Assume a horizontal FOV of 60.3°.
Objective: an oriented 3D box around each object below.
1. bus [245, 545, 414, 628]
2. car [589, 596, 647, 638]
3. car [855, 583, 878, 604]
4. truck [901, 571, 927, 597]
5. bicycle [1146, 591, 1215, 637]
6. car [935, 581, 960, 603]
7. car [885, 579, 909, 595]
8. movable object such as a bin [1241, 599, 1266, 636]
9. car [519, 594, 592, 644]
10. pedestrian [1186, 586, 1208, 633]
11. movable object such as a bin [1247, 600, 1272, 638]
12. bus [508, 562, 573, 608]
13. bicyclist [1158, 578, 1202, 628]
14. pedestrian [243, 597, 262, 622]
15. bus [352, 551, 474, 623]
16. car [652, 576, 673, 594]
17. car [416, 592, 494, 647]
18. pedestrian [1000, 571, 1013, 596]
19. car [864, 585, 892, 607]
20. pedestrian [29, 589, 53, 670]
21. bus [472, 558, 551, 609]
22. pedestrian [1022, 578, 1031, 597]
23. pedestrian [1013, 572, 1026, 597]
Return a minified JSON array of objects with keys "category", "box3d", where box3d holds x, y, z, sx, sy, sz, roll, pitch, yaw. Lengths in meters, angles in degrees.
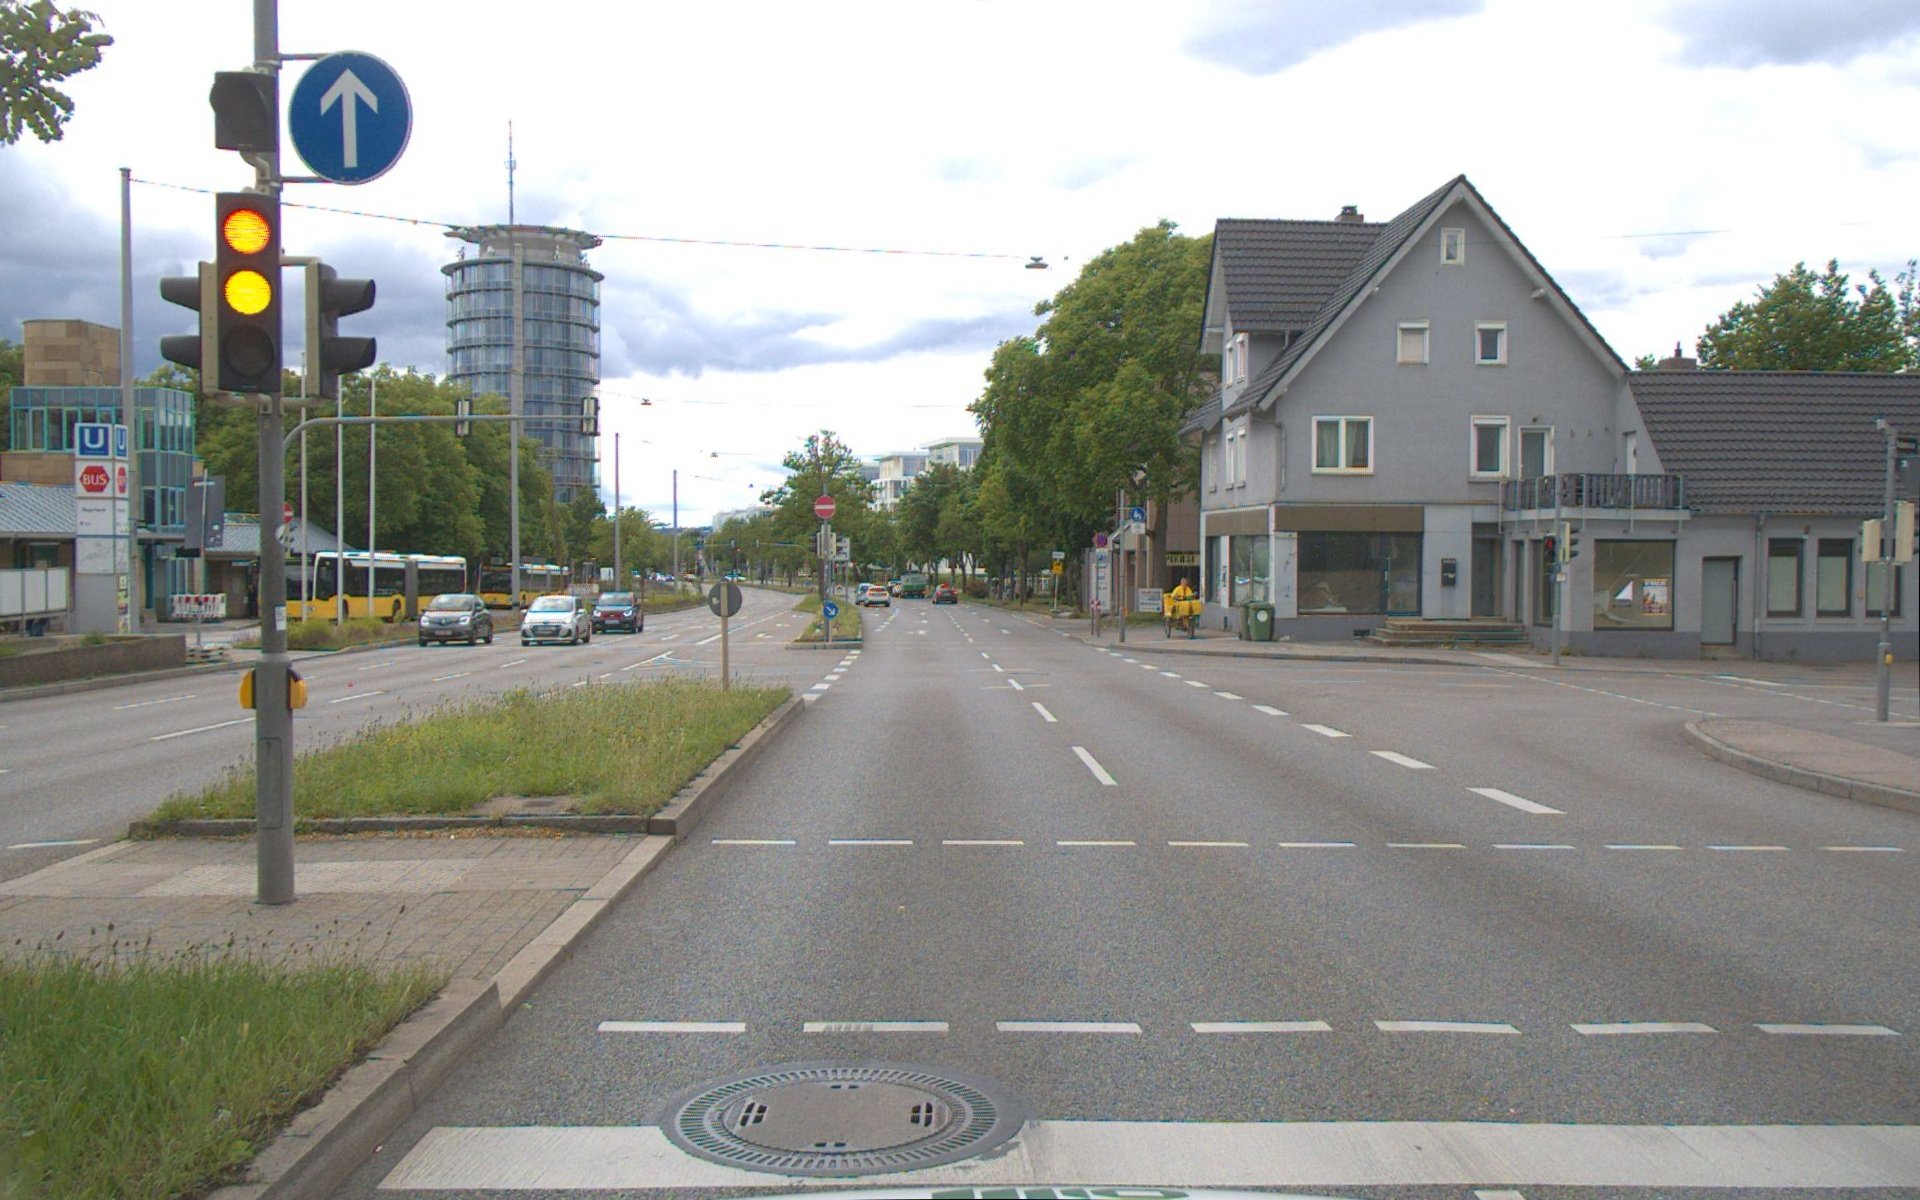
[{"category":"bus","box3d":[-27.083,-0.551,71.687,2.927,3.307,10.174,-1,0,3]},{"category":"car","box3d":[-12.976,0.614,62.856,1.669,1.518,3.559,-1,0,-4]},{"category":"car","box3d":[-7.347,-0.511,130.117,1.786,1.567,4.112,0,0,-3]},{"category":"truck","box3d":[-4.358,-1.521,156.423,2.207,2.459,4.927,0,0,-5]},{"category":"bicycle","box3d":[6.210,0.383,46.765,1.057,1.239,2.428,-1,0,-16]},{"category":"car","box3d":[-0.934,-0.630,128.937,1.850,1.521,4.098,-2,-1,0]},{"category":"car","box3d":[-6.614,-1.374,173.777,2.207,1.676,4.927,0,0,-6]},{"category":"movable object such as a bin","box3d":[7.970,0.476,44.950,0.518,0.997,0.736,0,0,-1]},{"category":"car","box3d":[-12.363,0.557,50.721,1.651,1.488,3.552,0,0,-5]},{"category":"pedestrian","box3d":[9.619,0.402,67.189,0.690,1.811,0.870,4,-4,5]},{"category":"movable object such as a bin","box3d":[8.000,0.501,44.160,0.518,0.997,0.736,0,0,-1]},{"category":"bus","box3d":[-31.153,-1.119,123.004,3.081,3.281,7.762,0,0,-2]},{"category":"bicyclist","box3d":[6.219,0.079,46.734,1.057,1.380,0.625,-1,0,-17]},{"category":"pedestrian","box3d":[-30.053,0.406,70.272,0.512,1.076,0.587,1,-1,-1]},{"category":"bus","box3d":[-26.547,-0.603,80.712,2.927,3.327,7.879,-1,0,3]},{"category":"car","box3d":[-35.921,-1.810,199.735,1.925,2.049,3.999,1,0,-1]},{"category":"car","box3d":[-15.471,0.572,50.809,1.652,1.606,3.344,0,0,-6]},{"category":"pedestrian","box3d":[3.785,-1.338,134.979,0.951,2.049,0.981,1,-1,-2]},{"category":"car","box3d":[-5.972,-0.284,119.540,1.954,1.503,4.253,-1,0,-3]},{"category":"pedestrian","box3d":[-18.415,0.586,33.154,0.414,1.619,0.353,0,0,-30]},{"category":"bus","box3d":[-30.790,-1.104,114.005,3.082,3.281,10.279,0,0,-3]},{"category":"pedestrian","box3d":[5.588,-1.038,138.624,0.638,1.597,0.669,0,0,-9]},{"category":"pedestrian","box3d":[4.864,-1.301,134.948,0.951,2.011,0.981,1,-1,-2]}]
